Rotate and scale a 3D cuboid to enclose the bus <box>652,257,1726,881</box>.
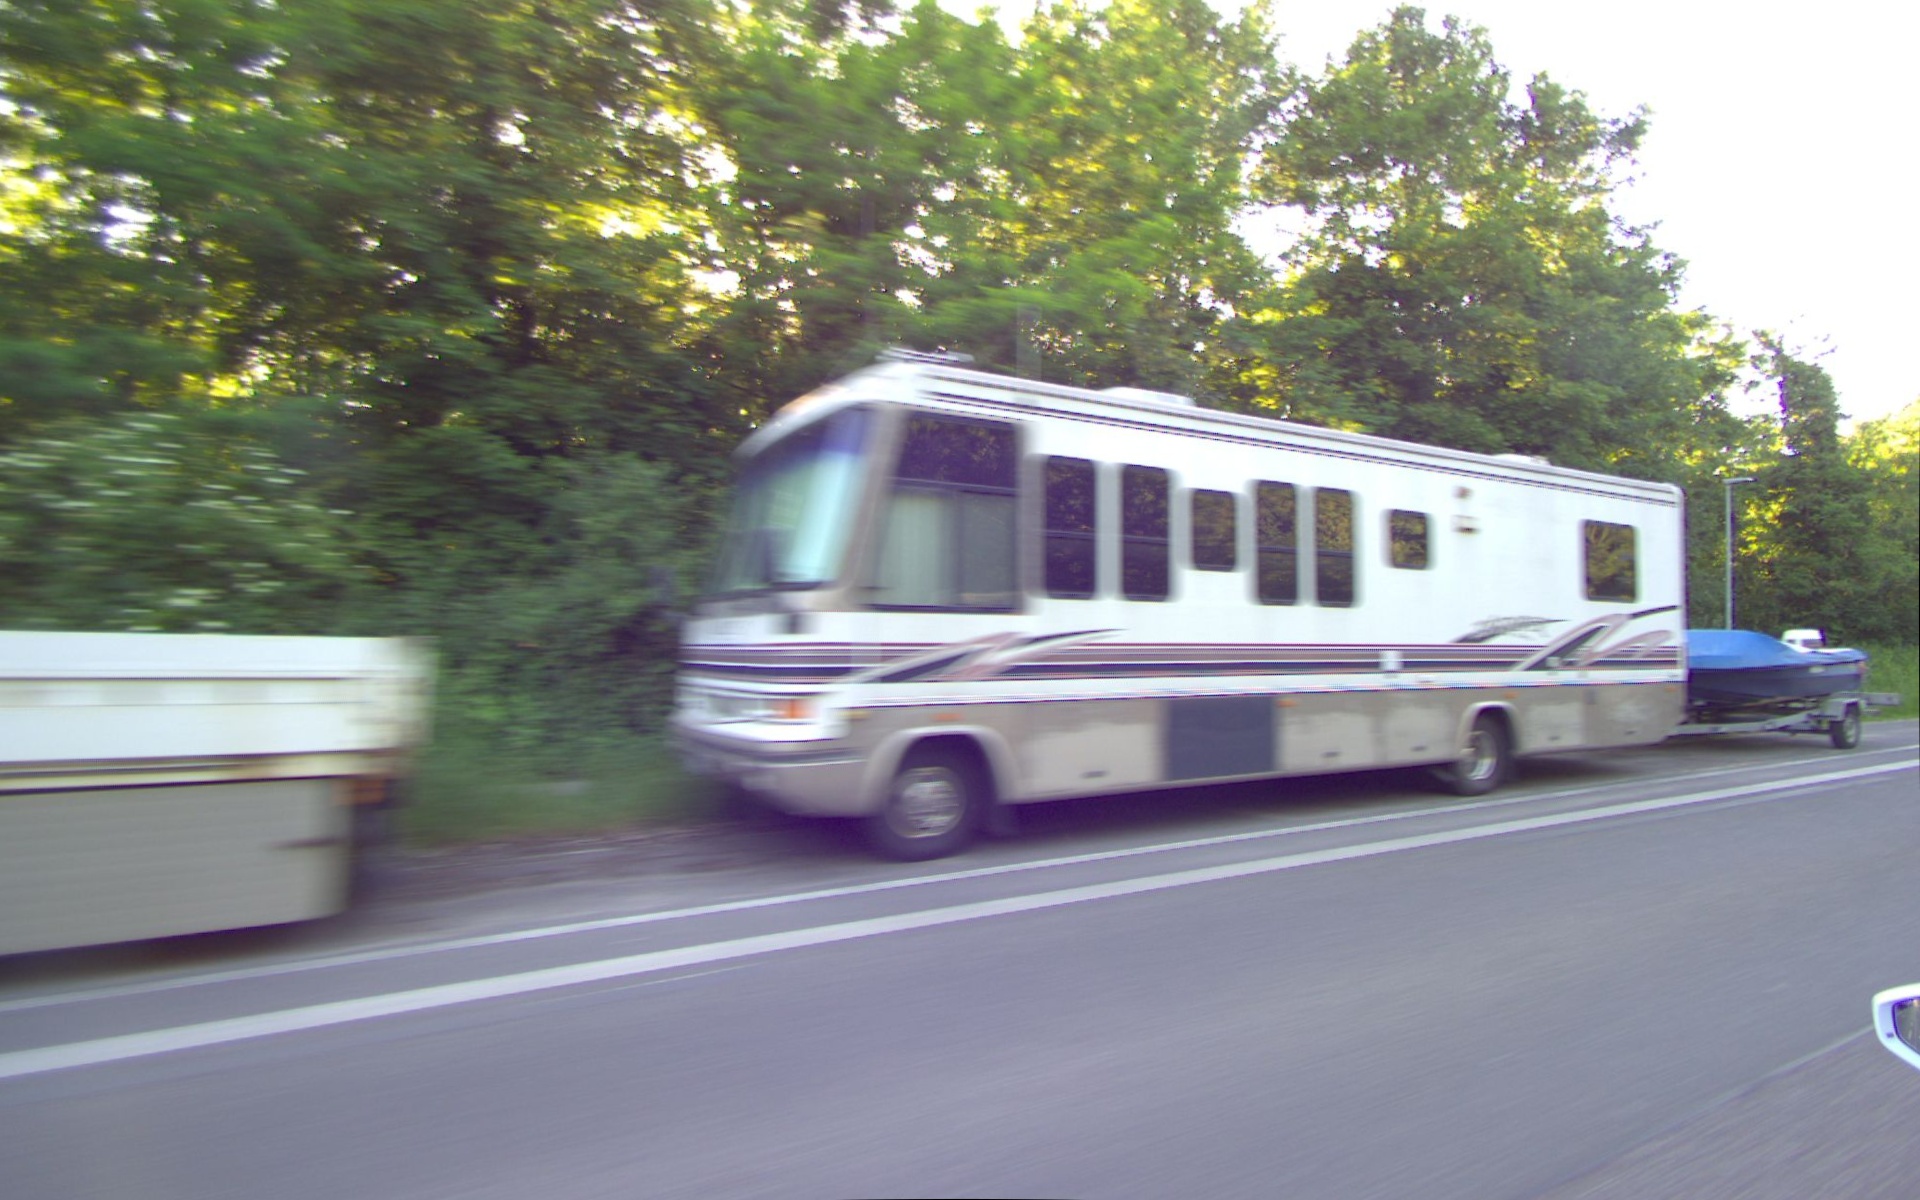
[{"bbox_3d":[3.038,-0.024,9.630,11.069,3.476,2.814,2,0,-30],"label":"bus"}]

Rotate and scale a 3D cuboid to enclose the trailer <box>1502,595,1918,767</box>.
[{"bbox_3d":[10.527,0.968,13.955,6.190,1.940,2.417,1,0,-30],"label":"trailer"}]

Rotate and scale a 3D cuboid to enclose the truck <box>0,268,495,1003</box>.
[{"bbox_3d":[-6.433,0.085,3.750,8.325,2.861,2.470,1,0,-30],"label":"truck"}]
